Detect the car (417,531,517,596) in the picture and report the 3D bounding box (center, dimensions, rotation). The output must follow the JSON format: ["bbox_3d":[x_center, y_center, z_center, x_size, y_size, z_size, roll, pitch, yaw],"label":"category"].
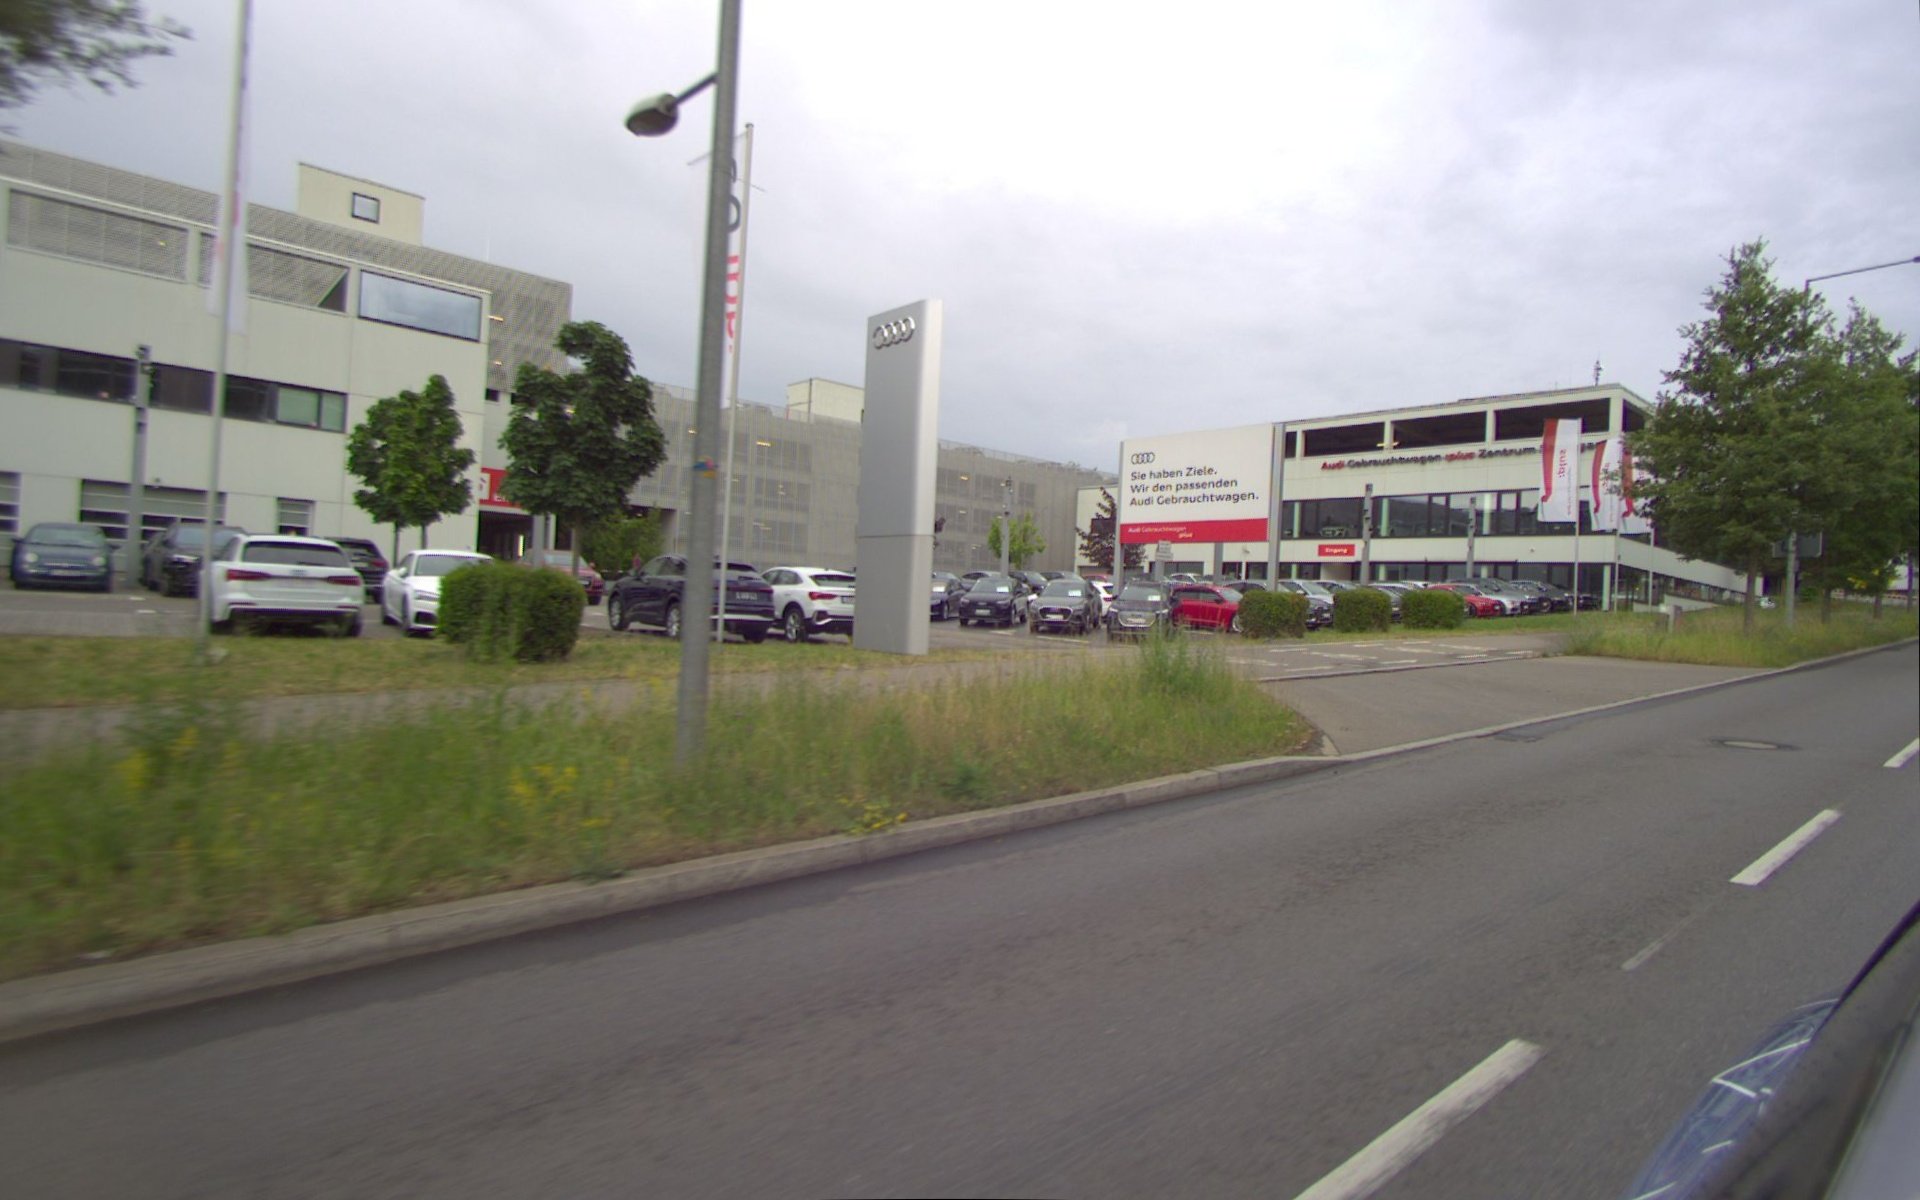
[{"bbox_3d":[-15.782,-1.103,32.295,1.964,1.900,3.995,1,0,-39],"label":"car"}]

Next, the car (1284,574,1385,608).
[{"bbox_3d":[18.111,-0.459,49.063,1.796,1.570,4.282,-1,2,-42],"label":"car"}]

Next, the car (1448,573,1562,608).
[{"bbox_3d":[26.020,-0.482,48.429,2.004,1.519,4.407,-1,3,-40],"label":"car"}]

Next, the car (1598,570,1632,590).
[{"bbox_3d":[59.639,-1.819,92.169,3.579,1.697,1.700,-1,0,-42],"label":"car"}]

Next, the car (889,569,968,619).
[{"bbox_3d":[-1.063,-0.261,35.951,1.748,1.613,3.543,3,2,17],"label":"car"}]

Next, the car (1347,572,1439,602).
[{"bbox_3d":[23.638,-0.739,55.359,1.796,1.570,4.282,-1,2,-42],"label":"car"}]

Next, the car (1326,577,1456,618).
[{"bbox_3d":[17.285,-0.144,40.748,1.898,1.473,4.470,-1,3,-41],"label":"car"}]

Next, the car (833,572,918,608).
[{"bbox_3d":[-4.018,-0.521,47.718,1.796,1.613,4.282,-1,2,-42],"label":"car"}]

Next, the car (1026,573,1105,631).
[{"bbox_3d":[3.348,0.009,31.573,1.748,1.613,3.543,3,2,17],"label":"car"}]

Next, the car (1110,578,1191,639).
[{"bbox_3d":[5.643,0.166,29.659,1.813,1.613,4.336,1,2,18],"label":"car"}]

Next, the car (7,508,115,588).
[{"bbox_3d":[-20.167,-1.110,22.766,1.663,1.594,4.112,1,0,-41],"label":"car"}]

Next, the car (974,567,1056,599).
[{"bbox_3d":[2.853,-0.923,53.155,1.796,1.613,4.282,-1,2,-42],"label":"car"}]

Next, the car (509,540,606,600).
[{"bbox_3d":[-13.674,-0.960,34.245,1.963,1.878,4.540,0,0,-37],"label":"car"}]

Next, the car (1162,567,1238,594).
[{"bbox_3d":[14.609,-1.206,61.802,1.796,1.613,4.282,-1,2,-42],"label":"car"}]

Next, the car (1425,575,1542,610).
[{"bbox_3d":[23.967,-0.372,46.430,1.857,1.445,4.407,-1,3,-40],"label":"car"}]

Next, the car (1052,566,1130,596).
[{"bbox_3d":[7.401,-1.087,57.347,1.796,1.613,4.282,-1,2,-42],"label":"car"}]

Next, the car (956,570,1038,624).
[{"bbox_3d":[1.293,-0.148,34.014,1.748,1.613,3.973,3,2,17],"label":"car"}]

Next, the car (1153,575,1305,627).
[{"bbox_3d":[8.711,-0.032,33.046,1.900,1.570,4.463,-1,2,-45],"label":"car"}]

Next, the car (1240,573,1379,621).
[{"bbox_3d":[12.778,-0.167,37.171,1.898,1.570,4.470,-1,3,-41],"label":"car"}]

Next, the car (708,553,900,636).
[{"bbox_3d":[-3.427,-0.144,21.809,4.102,1.614,1.920,0,2,42],"label":"car"}]

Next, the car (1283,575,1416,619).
[{"bbox_3d":[15.007,-0.159,39.183,1.898,1.547,4.470,-1,3,-41],"label":"car"}]

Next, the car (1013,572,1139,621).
[{"bbox_3d":[4.293,-0.175,38.000,1.900,1.569,4.465,-1,4,-45],"label":"car"}]

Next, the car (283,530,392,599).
[{"bbox_3d":[-15.790,-0.862,25.582,1.663,1.593,4.112,-1,2,-41],"label":"car"}]

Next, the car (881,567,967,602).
[{"bbox_3d":[-1.786,-0.778,48.941,1.796,1.613,4.282,-1,2,-42],"label":"car"}]

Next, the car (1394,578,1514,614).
[{"bbox_3d":[21.852,-0.208,44.876,1.898,1.364,4.406,-2,4,-41],"label":"car"}]

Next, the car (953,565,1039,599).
[{"bbox_3d":[1.747,-0.930,50.326,1.796,1.613,4.282,-1,2,-42],"label":"car"}]

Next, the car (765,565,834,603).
[{"bbox_3d":[-7.408,-0.774,46.934,1.748,1.613,3.543,3,2,17],"label":"car"}]

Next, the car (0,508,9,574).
[{"bbox_3d":[-24.937,-1.457,25.245,1.663,1.594,4.111,0,1,-42],"label":"car"}]

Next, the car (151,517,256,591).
[{"bbox_3d":[-17.862,-1.008,23.824,1.663,1.594,4.112,0,0,-41],"label":"car"}]

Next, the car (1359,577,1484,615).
[{"bbox_3d":[19.530,-0.208,42.971,1.898,1.474,4.469,-1,2,-41],"label":"car"}]

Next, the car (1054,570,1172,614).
[{"bbox_3d":[6.129,-0.369,40.815,1.900,1.570,4.464,-1,3,-45],"label":"car"}]

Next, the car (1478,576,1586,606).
[{"bbox_3d":[28.496,-0.488,50.492,1.806,1.395,4.325,-1,3,-43],"label":"car"}]

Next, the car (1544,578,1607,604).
[{"bbox_3d":[33.780,-0.533,55.527,3.855,1.355,1.900,-1,2,-42],"label":"car"}]

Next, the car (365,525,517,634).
[{"bbox_3d":[-8.890,-0.332,17.179,1.661,1.614,4.117,-1,1,-36],"label":"car"}]

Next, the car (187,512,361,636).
[{"bbox_3d":[-10.583,-0.395,15.475,1.663,1.614,4.527,-1,2,-41],"label":"car"}]

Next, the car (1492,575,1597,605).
[{"bbox_3d":[30.494,-0.543,52.872,1.898,1.500,4.405,-1,2,-41],"label":"car"}]

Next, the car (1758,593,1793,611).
[{"bbox_3d":[70.826,0.146,87.868,4.385,1.503,1.700,-1,0,-42],"label":"car"}]

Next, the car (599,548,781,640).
[{"bbox_3d":[-5.382,-0.109,19.873,1.839,1.614,4.112,1,0,-41],"label":"car"}]
